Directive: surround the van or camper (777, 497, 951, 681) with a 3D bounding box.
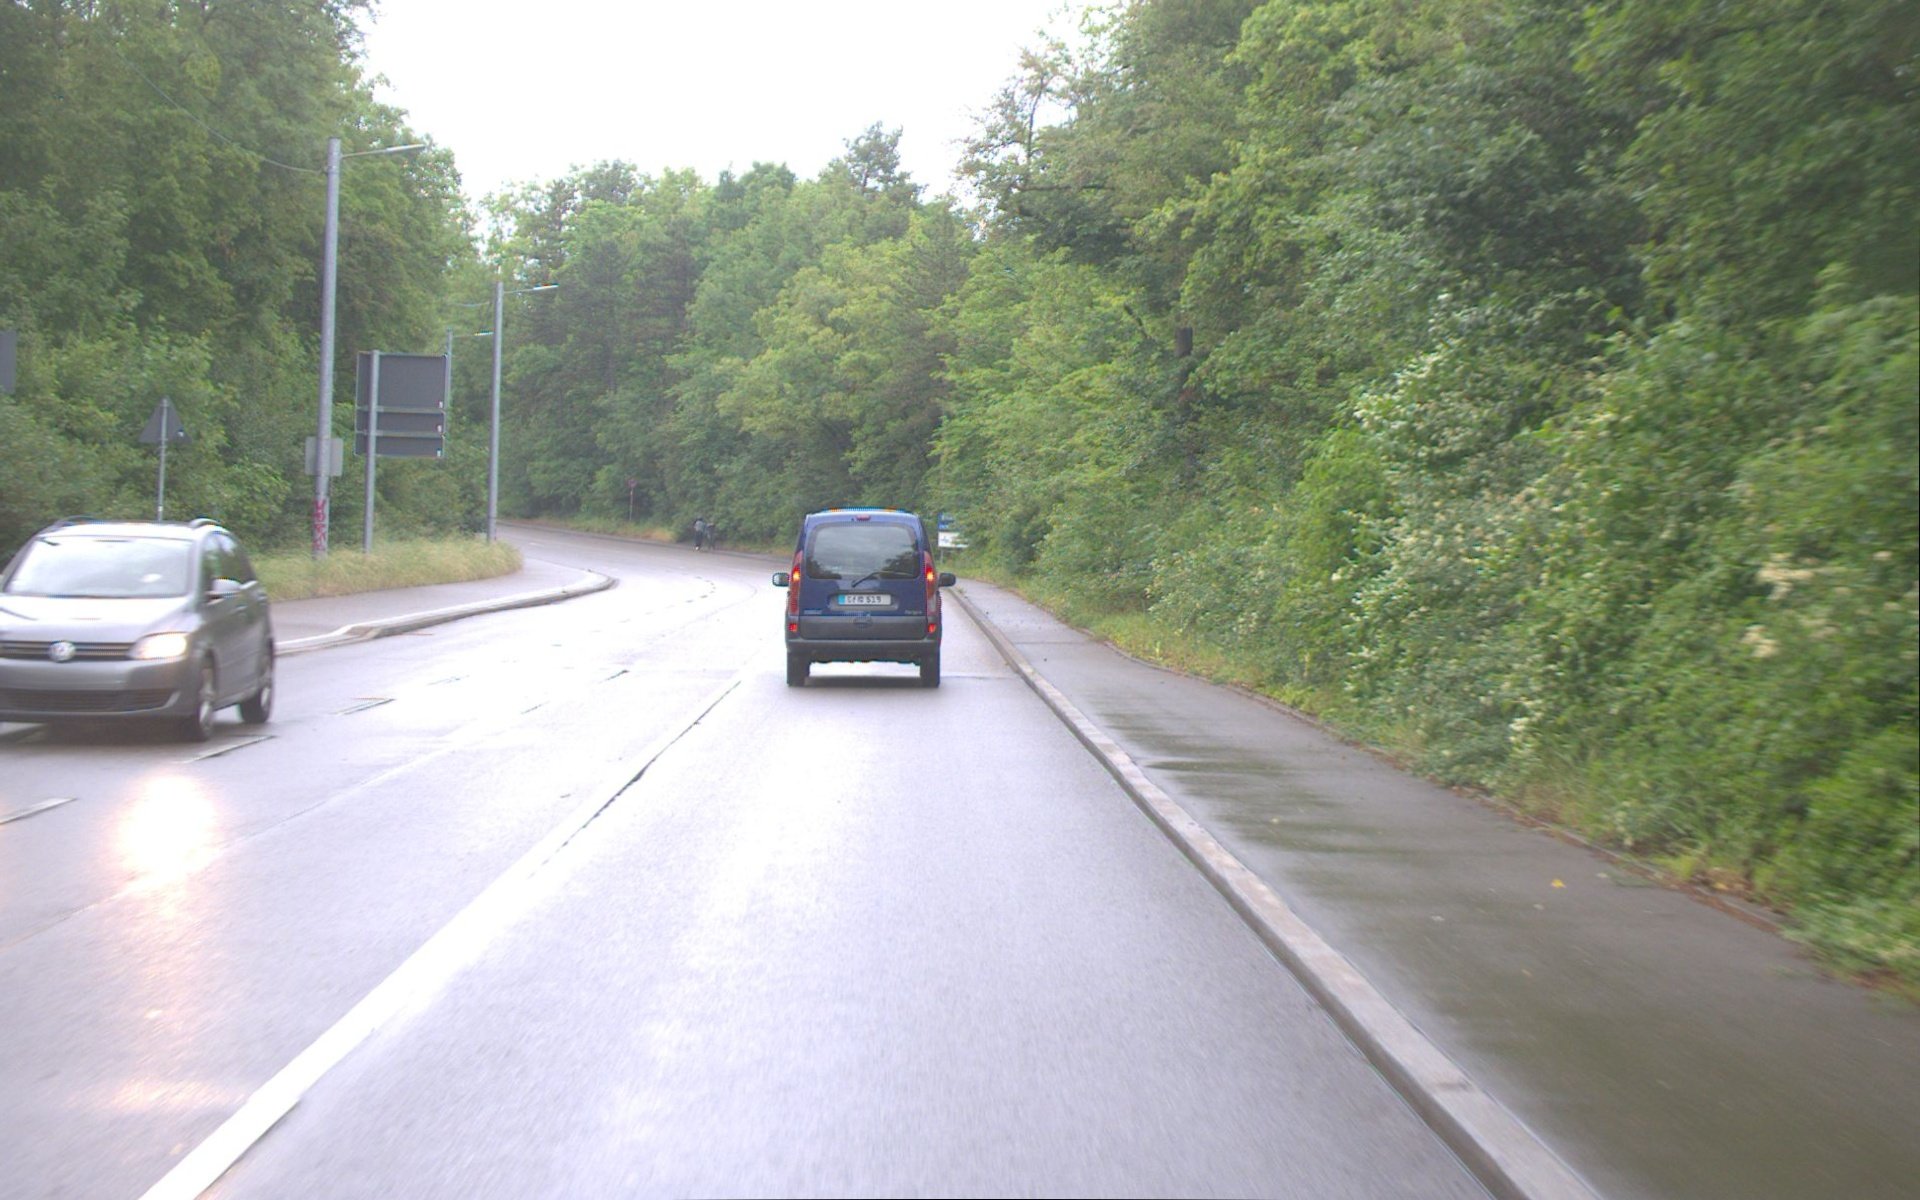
[{"bbox_3d":[-1.050,-0.132,37.079,1.712,1.819,4.000,2,1,-2],"label":"van or camper"}]

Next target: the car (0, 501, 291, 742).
[{"bbox_3d":[-6.240,0.099,25.503,1.771,1.605,4.084,2,1,-1],"label":"car"}]

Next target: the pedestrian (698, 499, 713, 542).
[{"bbox_3d":[-11.360,-3.551,153.489,0.490,1.863,0.680,1,1,-15],"label":"pedestrian"}]
